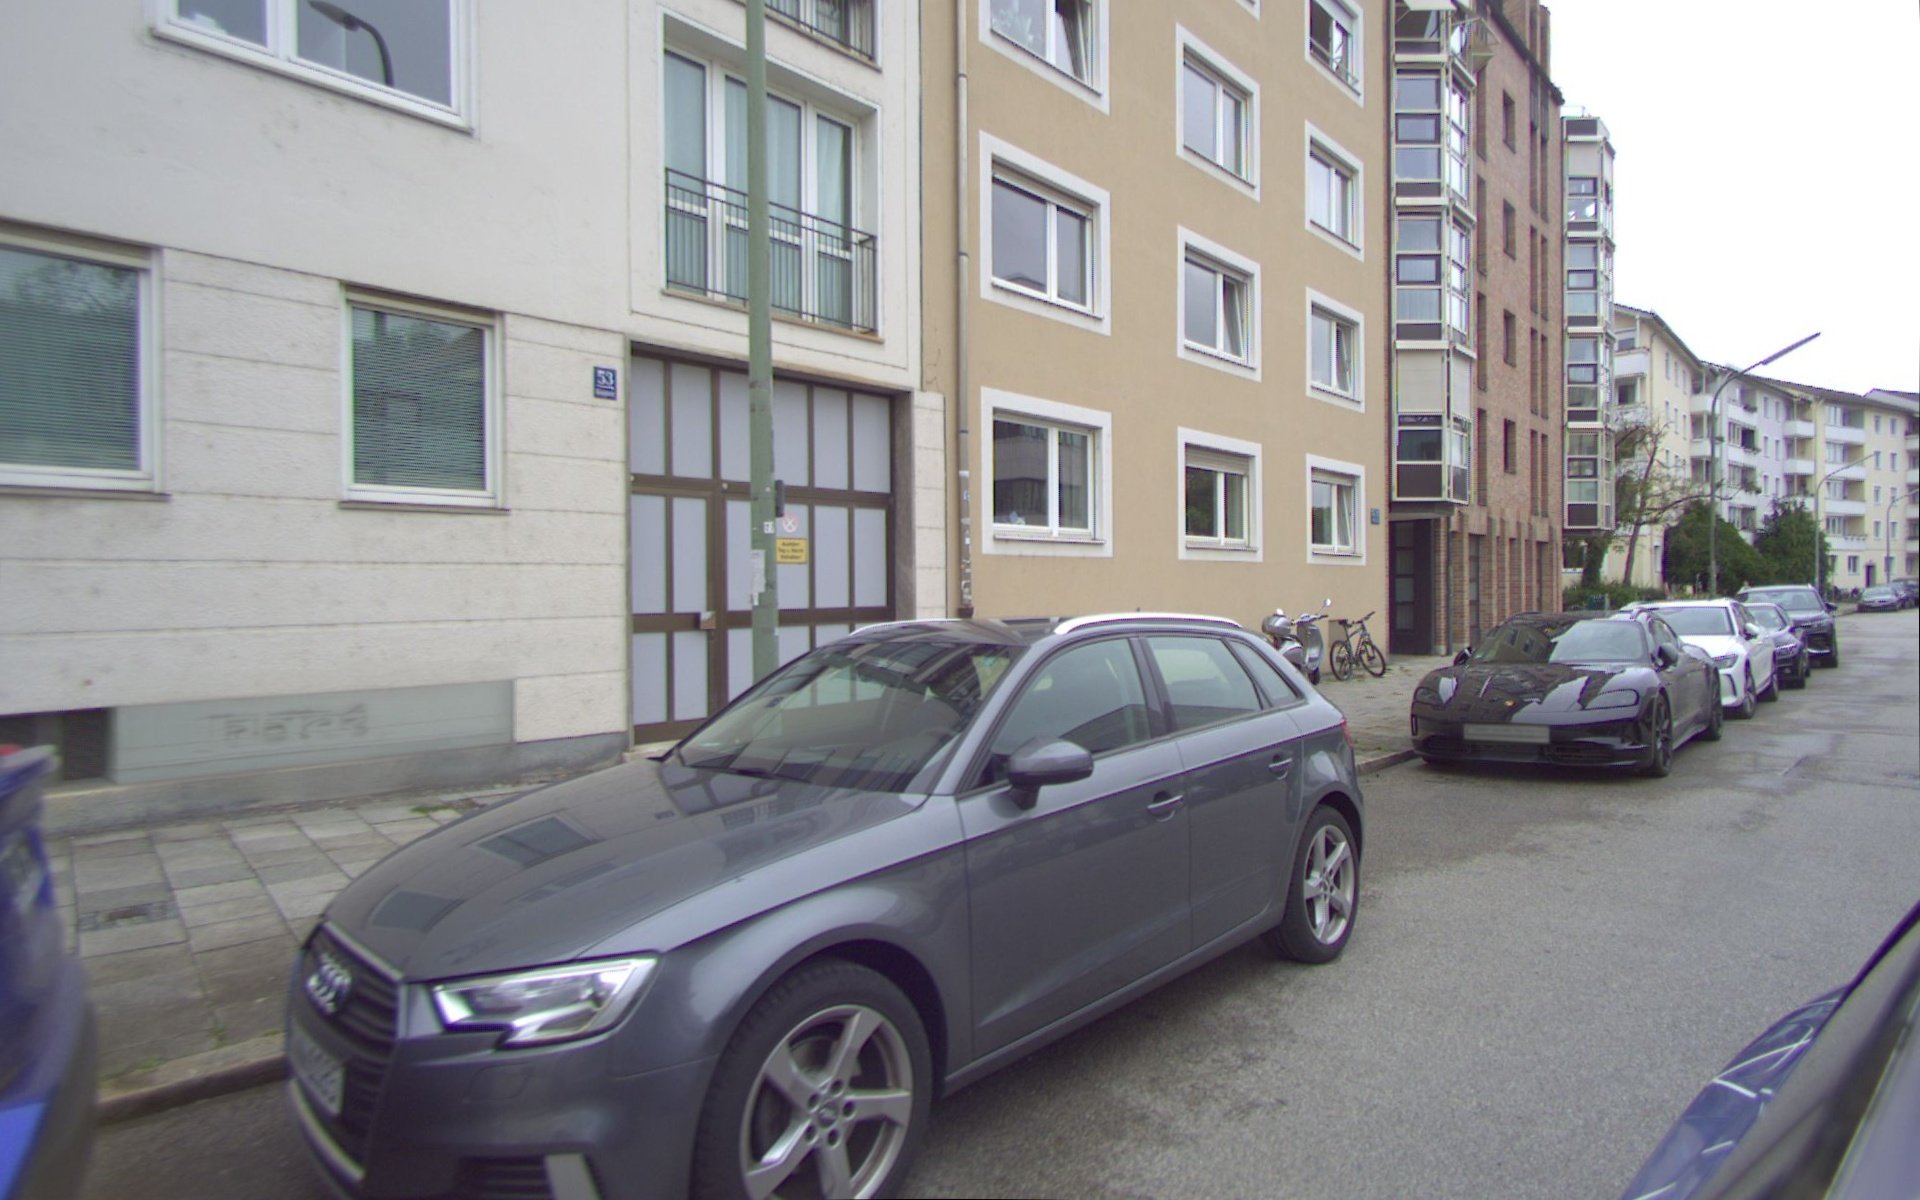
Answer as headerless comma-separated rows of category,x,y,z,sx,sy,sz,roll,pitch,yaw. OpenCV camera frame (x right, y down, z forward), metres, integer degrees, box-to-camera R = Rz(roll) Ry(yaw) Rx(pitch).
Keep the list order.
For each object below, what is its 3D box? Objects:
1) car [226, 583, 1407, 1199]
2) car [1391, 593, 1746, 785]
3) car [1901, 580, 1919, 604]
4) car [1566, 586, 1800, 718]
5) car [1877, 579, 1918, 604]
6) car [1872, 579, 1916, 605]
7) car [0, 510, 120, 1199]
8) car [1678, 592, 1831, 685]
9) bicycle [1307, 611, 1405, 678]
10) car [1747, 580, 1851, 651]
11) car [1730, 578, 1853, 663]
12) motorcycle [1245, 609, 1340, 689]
car,-0.028,0.667,3.742,1.740,1.414,4.134,-1,0,44
car,6.077,0.705,9.864,4.418,1.414,1.891,-1,-2,-45
car,60.928,-0.539,64.038,3.509,1.471,1.754,-1,1,-42
car,9.904,0.561,13.724,4.418,1.481,1.891,-1,1,-45
car,56.737,-0.513,61.288,1.750,1.471,3.516,0,1,42
car,53.650,-0.478,58.167,1.750,1.471,3.516,0,1,42
car,-3.282,0.727,0.700,4.126,1.608,1.744,-1,-1,-40
car,13.741,0.568,17.414,1.737,1.356,4.101,1,1,43
bicycle,6.963,0.741,17.720,0.711,1.031,2.360,1,1,45
car,20.473,0.310,24.639,1.736,1.598,4.066,1,1,43
car,17.274,0.353,20.962,1.737,1.598,3.774,1,1,43
motorcycle,5.204,0.733,15.774,1.768,1.140,0.628,-1,1,-43
